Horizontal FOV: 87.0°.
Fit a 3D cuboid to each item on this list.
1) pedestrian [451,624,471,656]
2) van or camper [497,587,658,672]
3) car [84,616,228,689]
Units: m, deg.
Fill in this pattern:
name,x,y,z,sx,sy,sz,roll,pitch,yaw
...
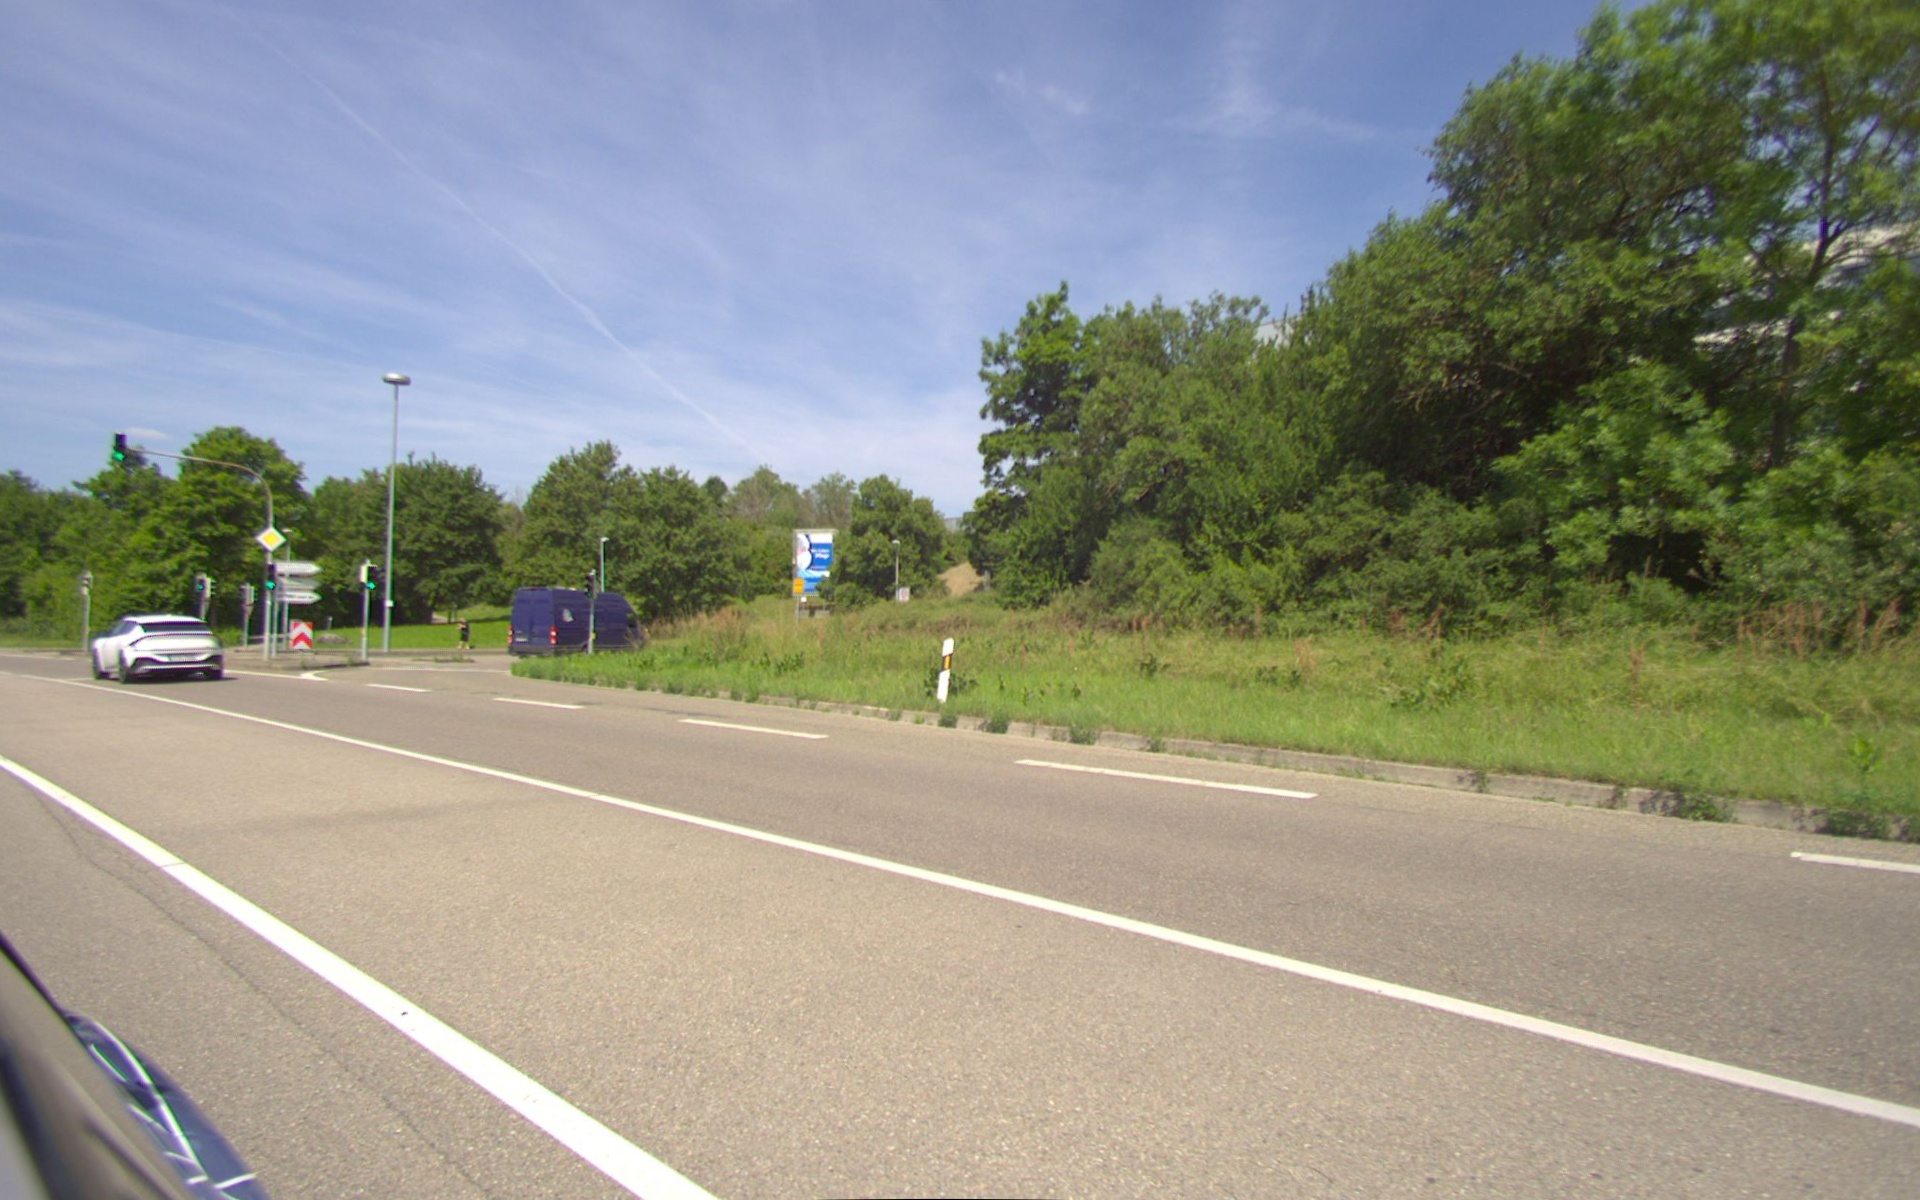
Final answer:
name,x,y,z,sx,sy,sz,roll,pitch,yaw
pedestrian,-28.446,2.257,57.672,0.906,1.749,0.902,-1,-1,-19
van or camper,-14.564,1.301,39.217,2.224,2.936,7.217,-1,-5,12
car,-19.446,1.199,24.400,4.625,1.560,1.917,-1,0,41
